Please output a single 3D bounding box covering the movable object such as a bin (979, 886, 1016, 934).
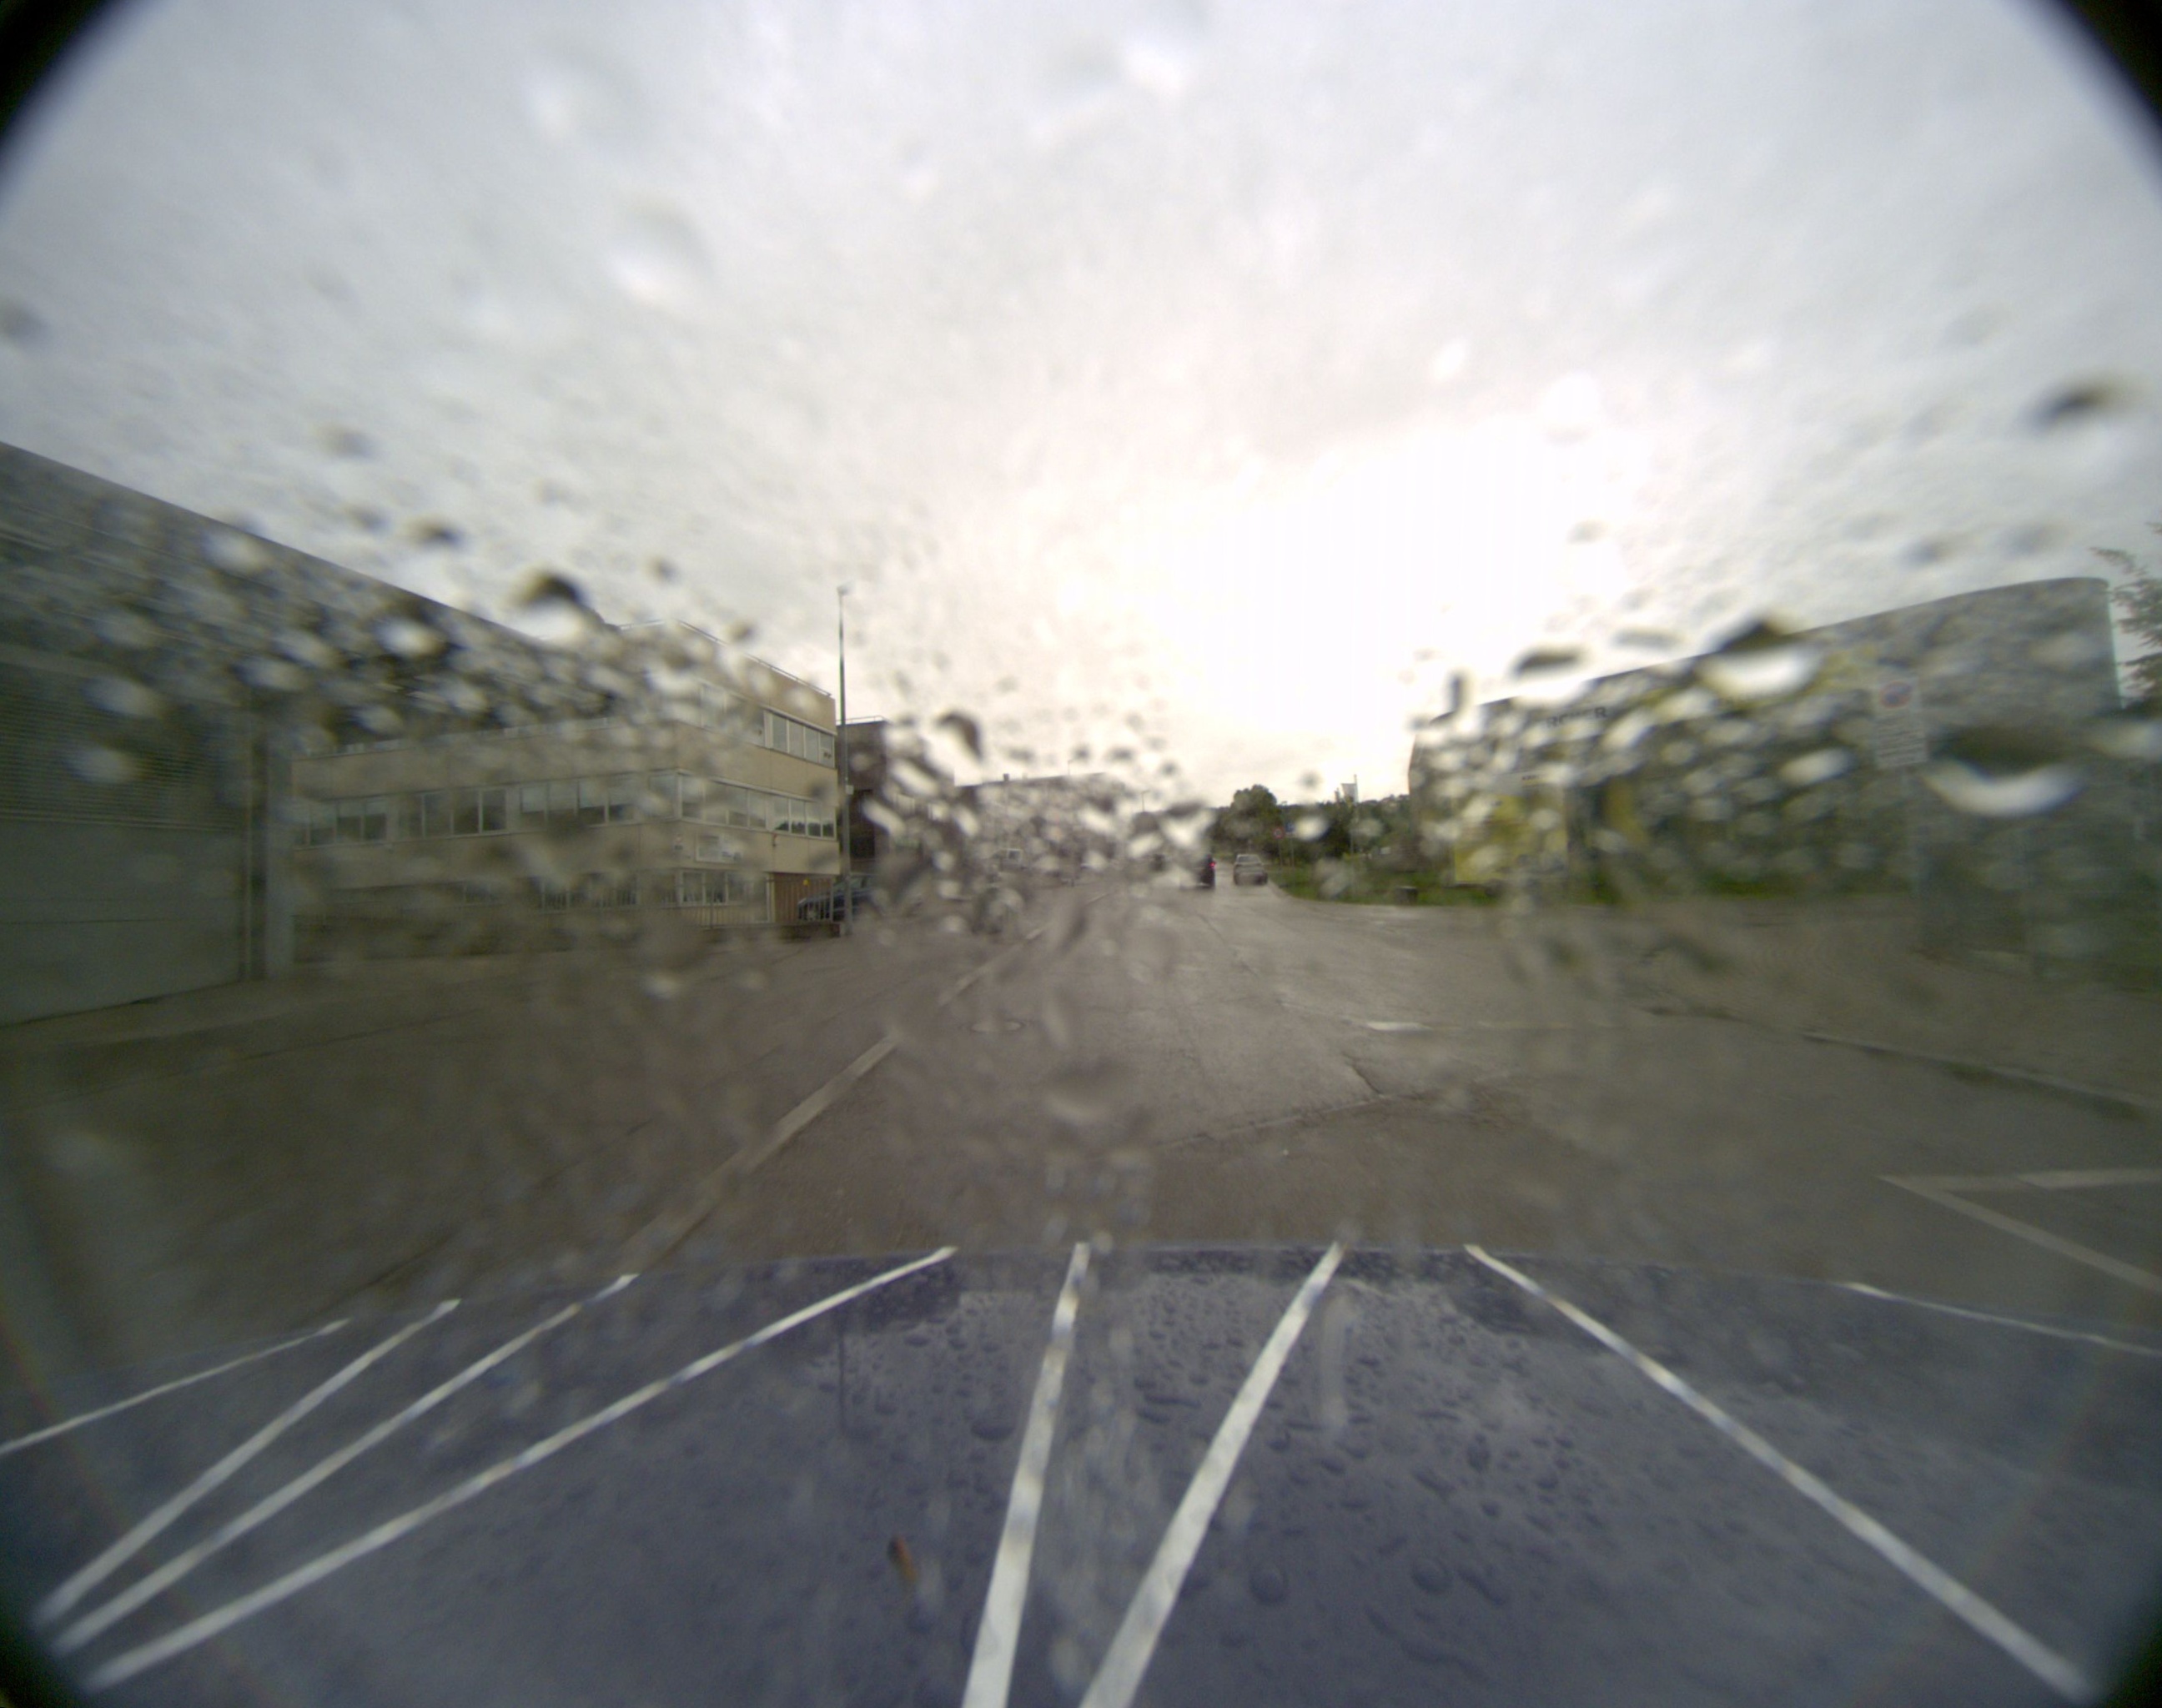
[{"bbox_3d":[-1.985,1.315,18.077,0.736,1.084,0.594,-2,0,4],"label":"movable object such as a bin"}]

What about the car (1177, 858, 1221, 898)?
[{"bbox_3d":[6.402,1.259,41.764,2.067,2.002,4.513,-2,0,5],"label":"car"}]

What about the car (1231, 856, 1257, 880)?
[{"bbox_3d":[14.608,1.220,67.974,1.996,2.001,4.005,-2,-1,16],"label":"car"}]

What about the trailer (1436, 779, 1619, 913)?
[{"bbox_3d":[14.940,-0.209,25.608,2.393,4.065,4.687,-2,0,-42],"label":"trailer"}]

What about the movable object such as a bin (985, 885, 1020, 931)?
[{"bbox_3d":[-1.924,1.323,18.722,0.736,1.084,0.594,-2,0,4],"label":"movable object such as a bin"}]

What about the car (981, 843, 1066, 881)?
[{"bbox_3d":[-3.811,0.508,50.533,5.148,2.280,2.204,-2,0,12],"label":"car"}]

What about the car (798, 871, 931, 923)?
[{"bbox_3d":[-6.902,1.373,24.412,3.746,1.531,1.632,-1,-1,8],"label":"car"}]

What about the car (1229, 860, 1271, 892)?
[{"bbox_3d":[10.540,1.351,47.615,1.998,1.902,4.002,-1,-1,4],"label":"car"}]

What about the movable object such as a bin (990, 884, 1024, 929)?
[{"bbox_3d":[-1.872,1.332,19.345,0.736,1.084,0.594,-2,0,4],"label":"movable object such as a bin"}]

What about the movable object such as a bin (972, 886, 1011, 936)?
[{"bbox_3d":[-2.052,1.306,17.462,0.736,1.084,0.594,-2,0,4],"label":"movable object such as a bin"}]

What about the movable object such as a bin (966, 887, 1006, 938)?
[{"bbox_3d":[-2.097,1.292,16.848,0.736,1.084,0.594,-2,0,4],"label":"movable object such as a bin"}]

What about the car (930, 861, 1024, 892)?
[{"bbox_3d":[-5.567,1.228,40.991,4.619,1.488,1.942,-2,0,10],"label":"car"}]
